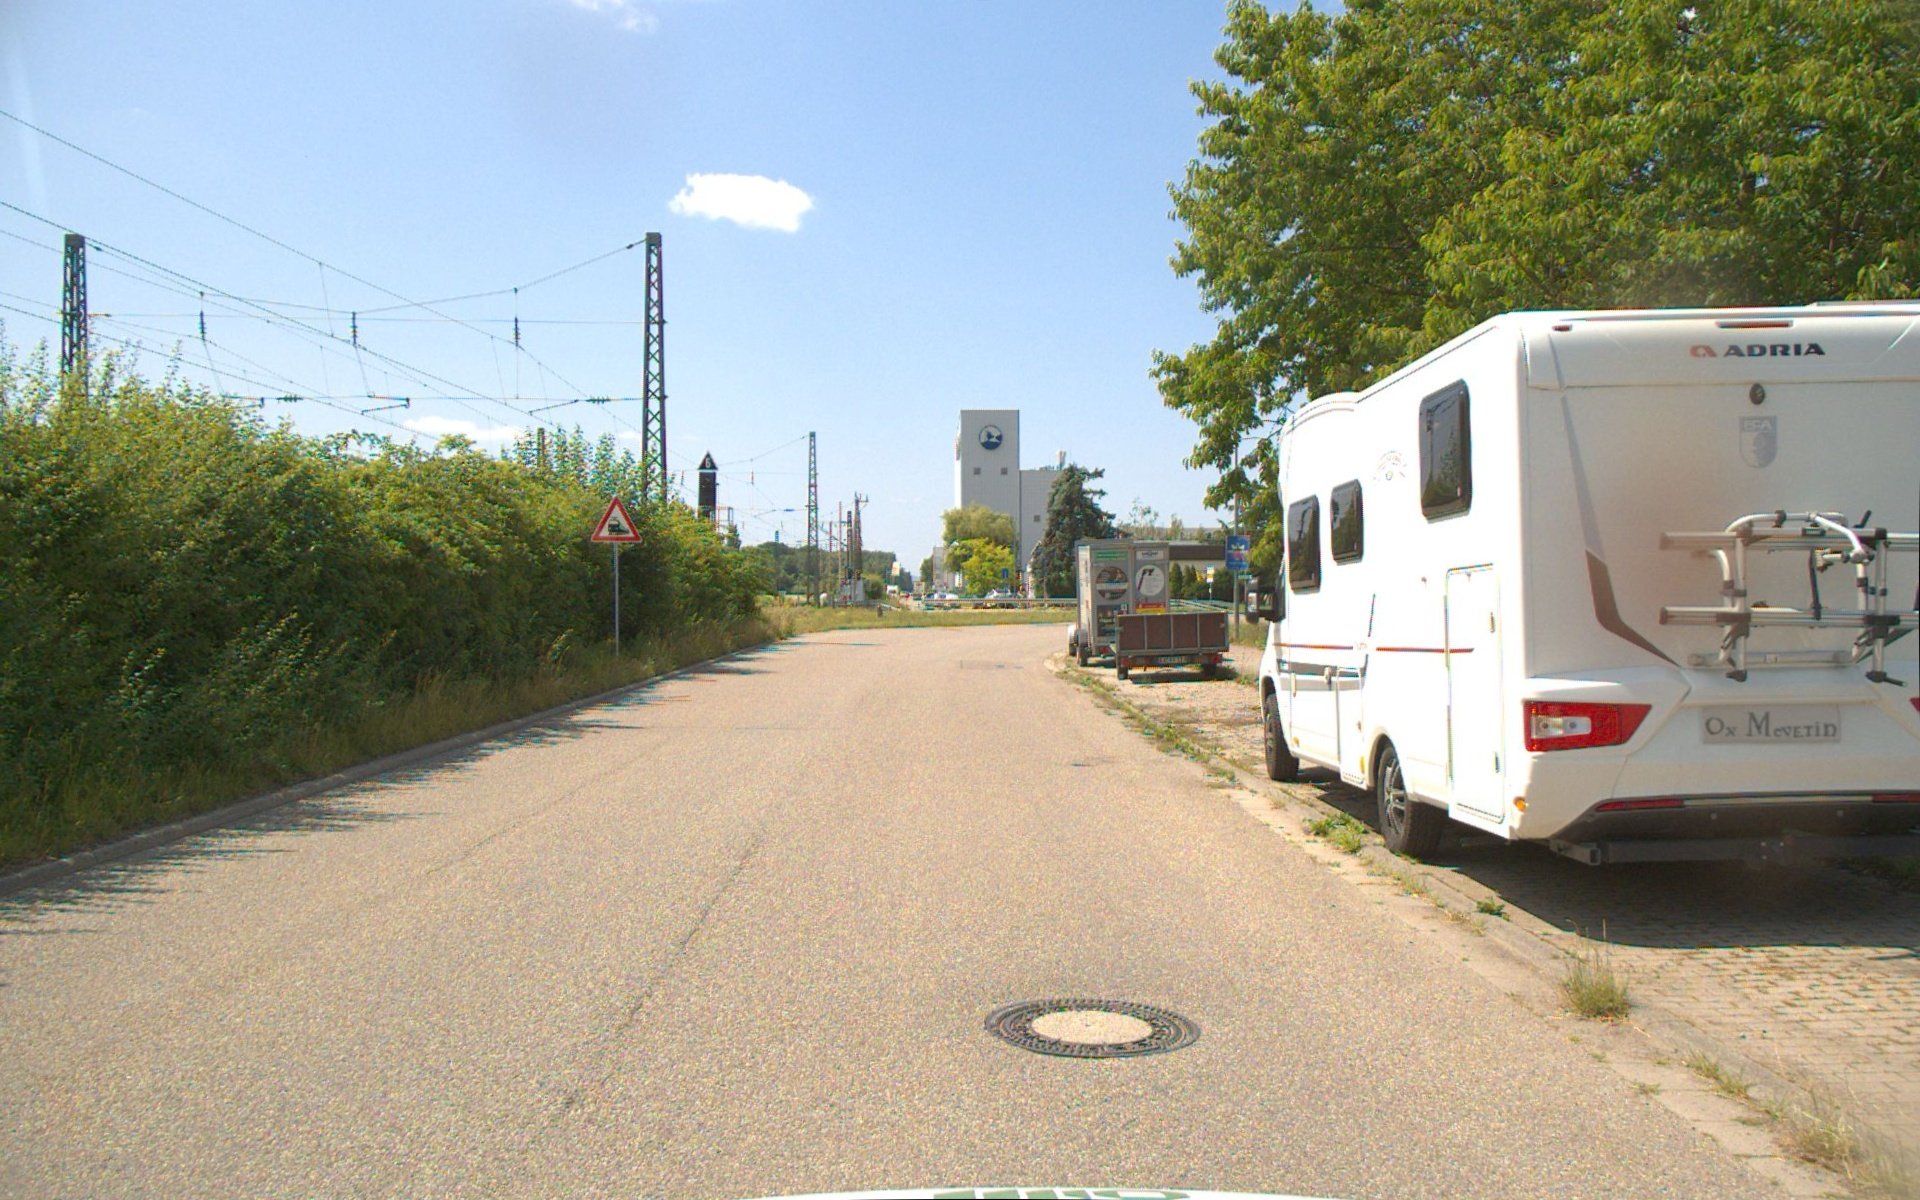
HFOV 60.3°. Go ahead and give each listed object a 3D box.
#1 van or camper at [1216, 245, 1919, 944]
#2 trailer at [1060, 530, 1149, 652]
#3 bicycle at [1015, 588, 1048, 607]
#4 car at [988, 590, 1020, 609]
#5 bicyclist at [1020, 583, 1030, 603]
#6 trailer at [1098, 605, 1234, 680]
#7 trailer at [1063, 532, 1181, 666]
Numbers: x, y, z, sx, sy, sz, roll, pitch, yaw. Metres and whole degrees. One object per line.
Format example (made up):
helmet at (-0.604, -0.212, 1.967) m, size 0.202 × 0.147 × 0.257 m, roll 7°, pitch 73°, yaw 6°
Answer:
van or camper at (3.535, -0.062, 10.749) m, size 2.389 × 2.876 × 7.622 m, roll -2°, pitch 0°, yaw -1°
trailer at (3.497, -0.232, 40.064) m, size 1.892 × 2.690 × 5.187 m, roll -3°, pitch 0°, yaw 5°
bicycle at (4.680, -0.175, 108.889) m, size 2.099 × 1.185 × 0.660 m, roll 0°, pitch 1°, yaw 29°
car at (3.527, -0.055, 132.847) m, size 1.955 × 1.536 × 4.448 m, roll 0°, pitch 1°, yaw -6°
bicyclist at (4.317, -0.478, 109.098) m, size 0.500 × 1.277 × 0.469 m, roll 0°, pitch 1°, yaw 28°
trailer at (3.579, 0.704, 29.434) m, size 1.963 × 1.142 × 4.490 m, roll -3°, pitch 0°, yaw 2°
trailer at (3.339, -0.039, 34.885) m, size 1.880 × 2.552 × 4.740 m, roll -3°, pitch 0°, yaw 0°
